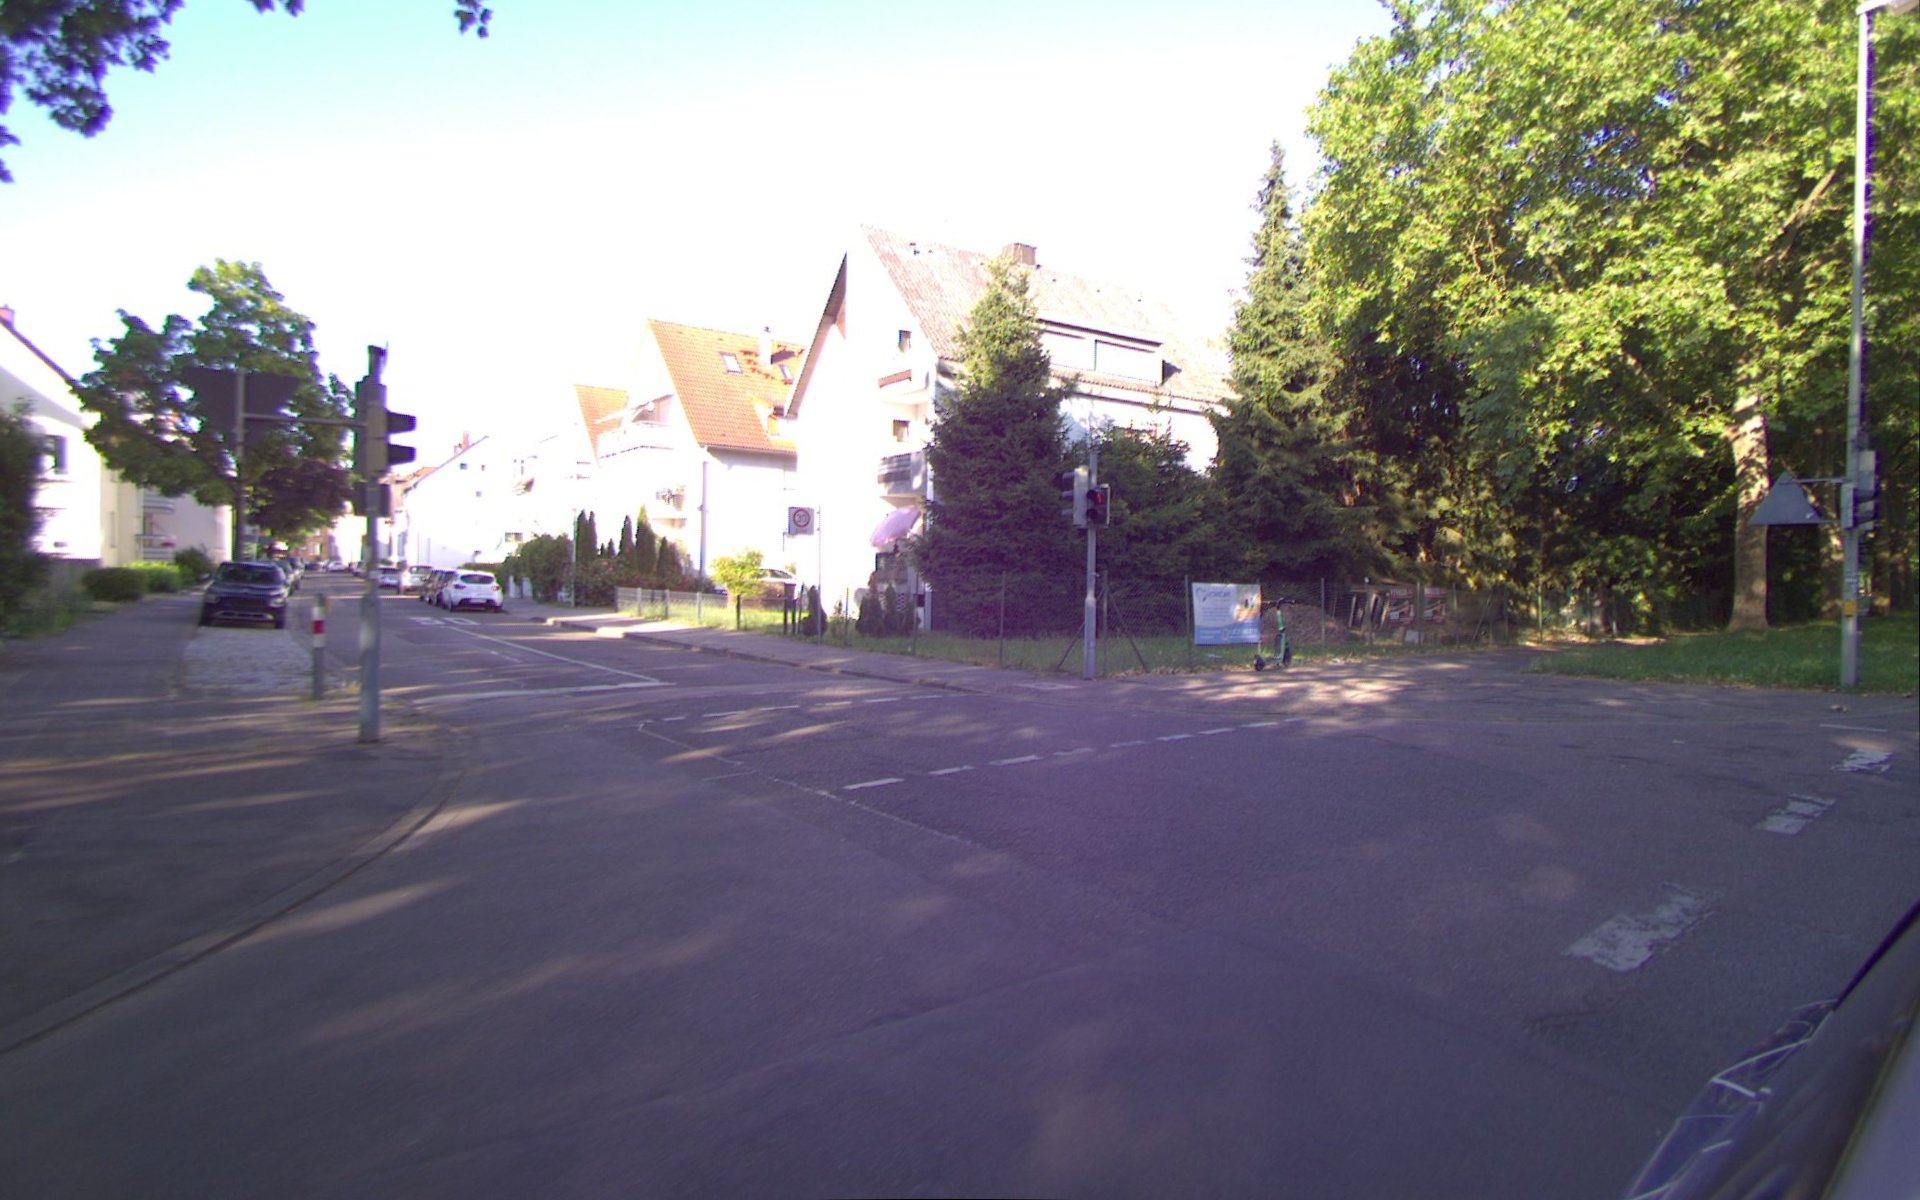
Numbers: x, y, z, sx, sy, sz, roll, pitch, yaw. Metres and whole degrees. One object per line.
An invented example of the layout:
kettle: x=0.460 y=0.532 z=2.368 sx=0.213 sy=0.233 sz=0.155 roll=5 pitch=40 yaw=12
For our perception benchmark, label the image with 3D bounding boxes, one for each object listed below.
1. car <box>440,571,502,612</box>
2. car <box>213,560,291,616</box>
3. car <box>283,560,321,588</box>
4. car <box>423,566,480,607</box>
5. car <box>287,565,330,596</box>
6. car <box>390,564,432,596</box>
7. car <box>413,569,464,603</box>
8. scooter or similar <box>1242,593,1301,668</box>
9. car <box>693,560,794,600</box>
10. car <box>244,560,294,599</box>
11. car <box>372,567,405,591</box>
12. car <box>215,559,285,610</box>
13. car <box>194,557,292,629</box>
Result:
car: x=-17.878 y=-0.336 z=36.921 sx=1.796 sy=1.411 sz=3.569 roll=1 pitch=1 yaw=-30
car: x=-22.529 y=-0.405 z=32.146 sx=1.833 sy=1.615 sz=3.759 roll=4 pitch=-1 yaw=-37
car: x=-39.518 y=-1.589 z=60.791 sx=1.669 sy=1.614 sz=3.591 roll=-1 pitch=2 yaw=-37
car: x=-20.722 y=-0.585 z=41.187 sx=1.634 sy=1.530 sz=3.566 roll=0 pitch=3 yaw=-34
car: x=-34.800 y=-1.055 z=54.044 sx=1.669 sy=1.614 sz=3.591 roll=0 pitch=2 yaw=-37
car: x=-28.822 y=-1.071 z=53.083 sx=1.634 sy=1.644 sz=3.566 roll=0 pitch=2 yaw=-34
car: x=-23.362 y=-0.656 z=45.301 sx=1.634 sy=1.438 sz=3.566 roll=0 pitch=2 yaw=-34
scooter or similar: x=5.213 y=0.494 z=16.906 sx=1.233 sy=1.211 sz=0.383 roll=0 pitch=0 yaw=-43
car: x=-8.351 y=-0.757 z=39.040 sx=3.512 sy=1.439 sz=1.707 roll=0 pitch=0 yaw=-27
car: x=-31.613 y=-0.962 z=46.282 sx=1.669 sy=1.615 sz=3.591 roll=4 pitch=-1 yaw=-37
car: x=-38.218 y=-1.392 z=67.661 sx=1.634 sy=1.537 sz=3.566 roll=0 pitch=2 yaw=-34
car: x=-25.062 y=-0.566 z=35.686 sx=1.833 sy=1.615 sz=3.759 roll=4 pitch=-1 yaw=-37
car: x=-18.224 y=-0.207 z=25.681 sx=1.833 sy=1.615 sz=3.759 roll=4 pitch=-1 yaw=-37
